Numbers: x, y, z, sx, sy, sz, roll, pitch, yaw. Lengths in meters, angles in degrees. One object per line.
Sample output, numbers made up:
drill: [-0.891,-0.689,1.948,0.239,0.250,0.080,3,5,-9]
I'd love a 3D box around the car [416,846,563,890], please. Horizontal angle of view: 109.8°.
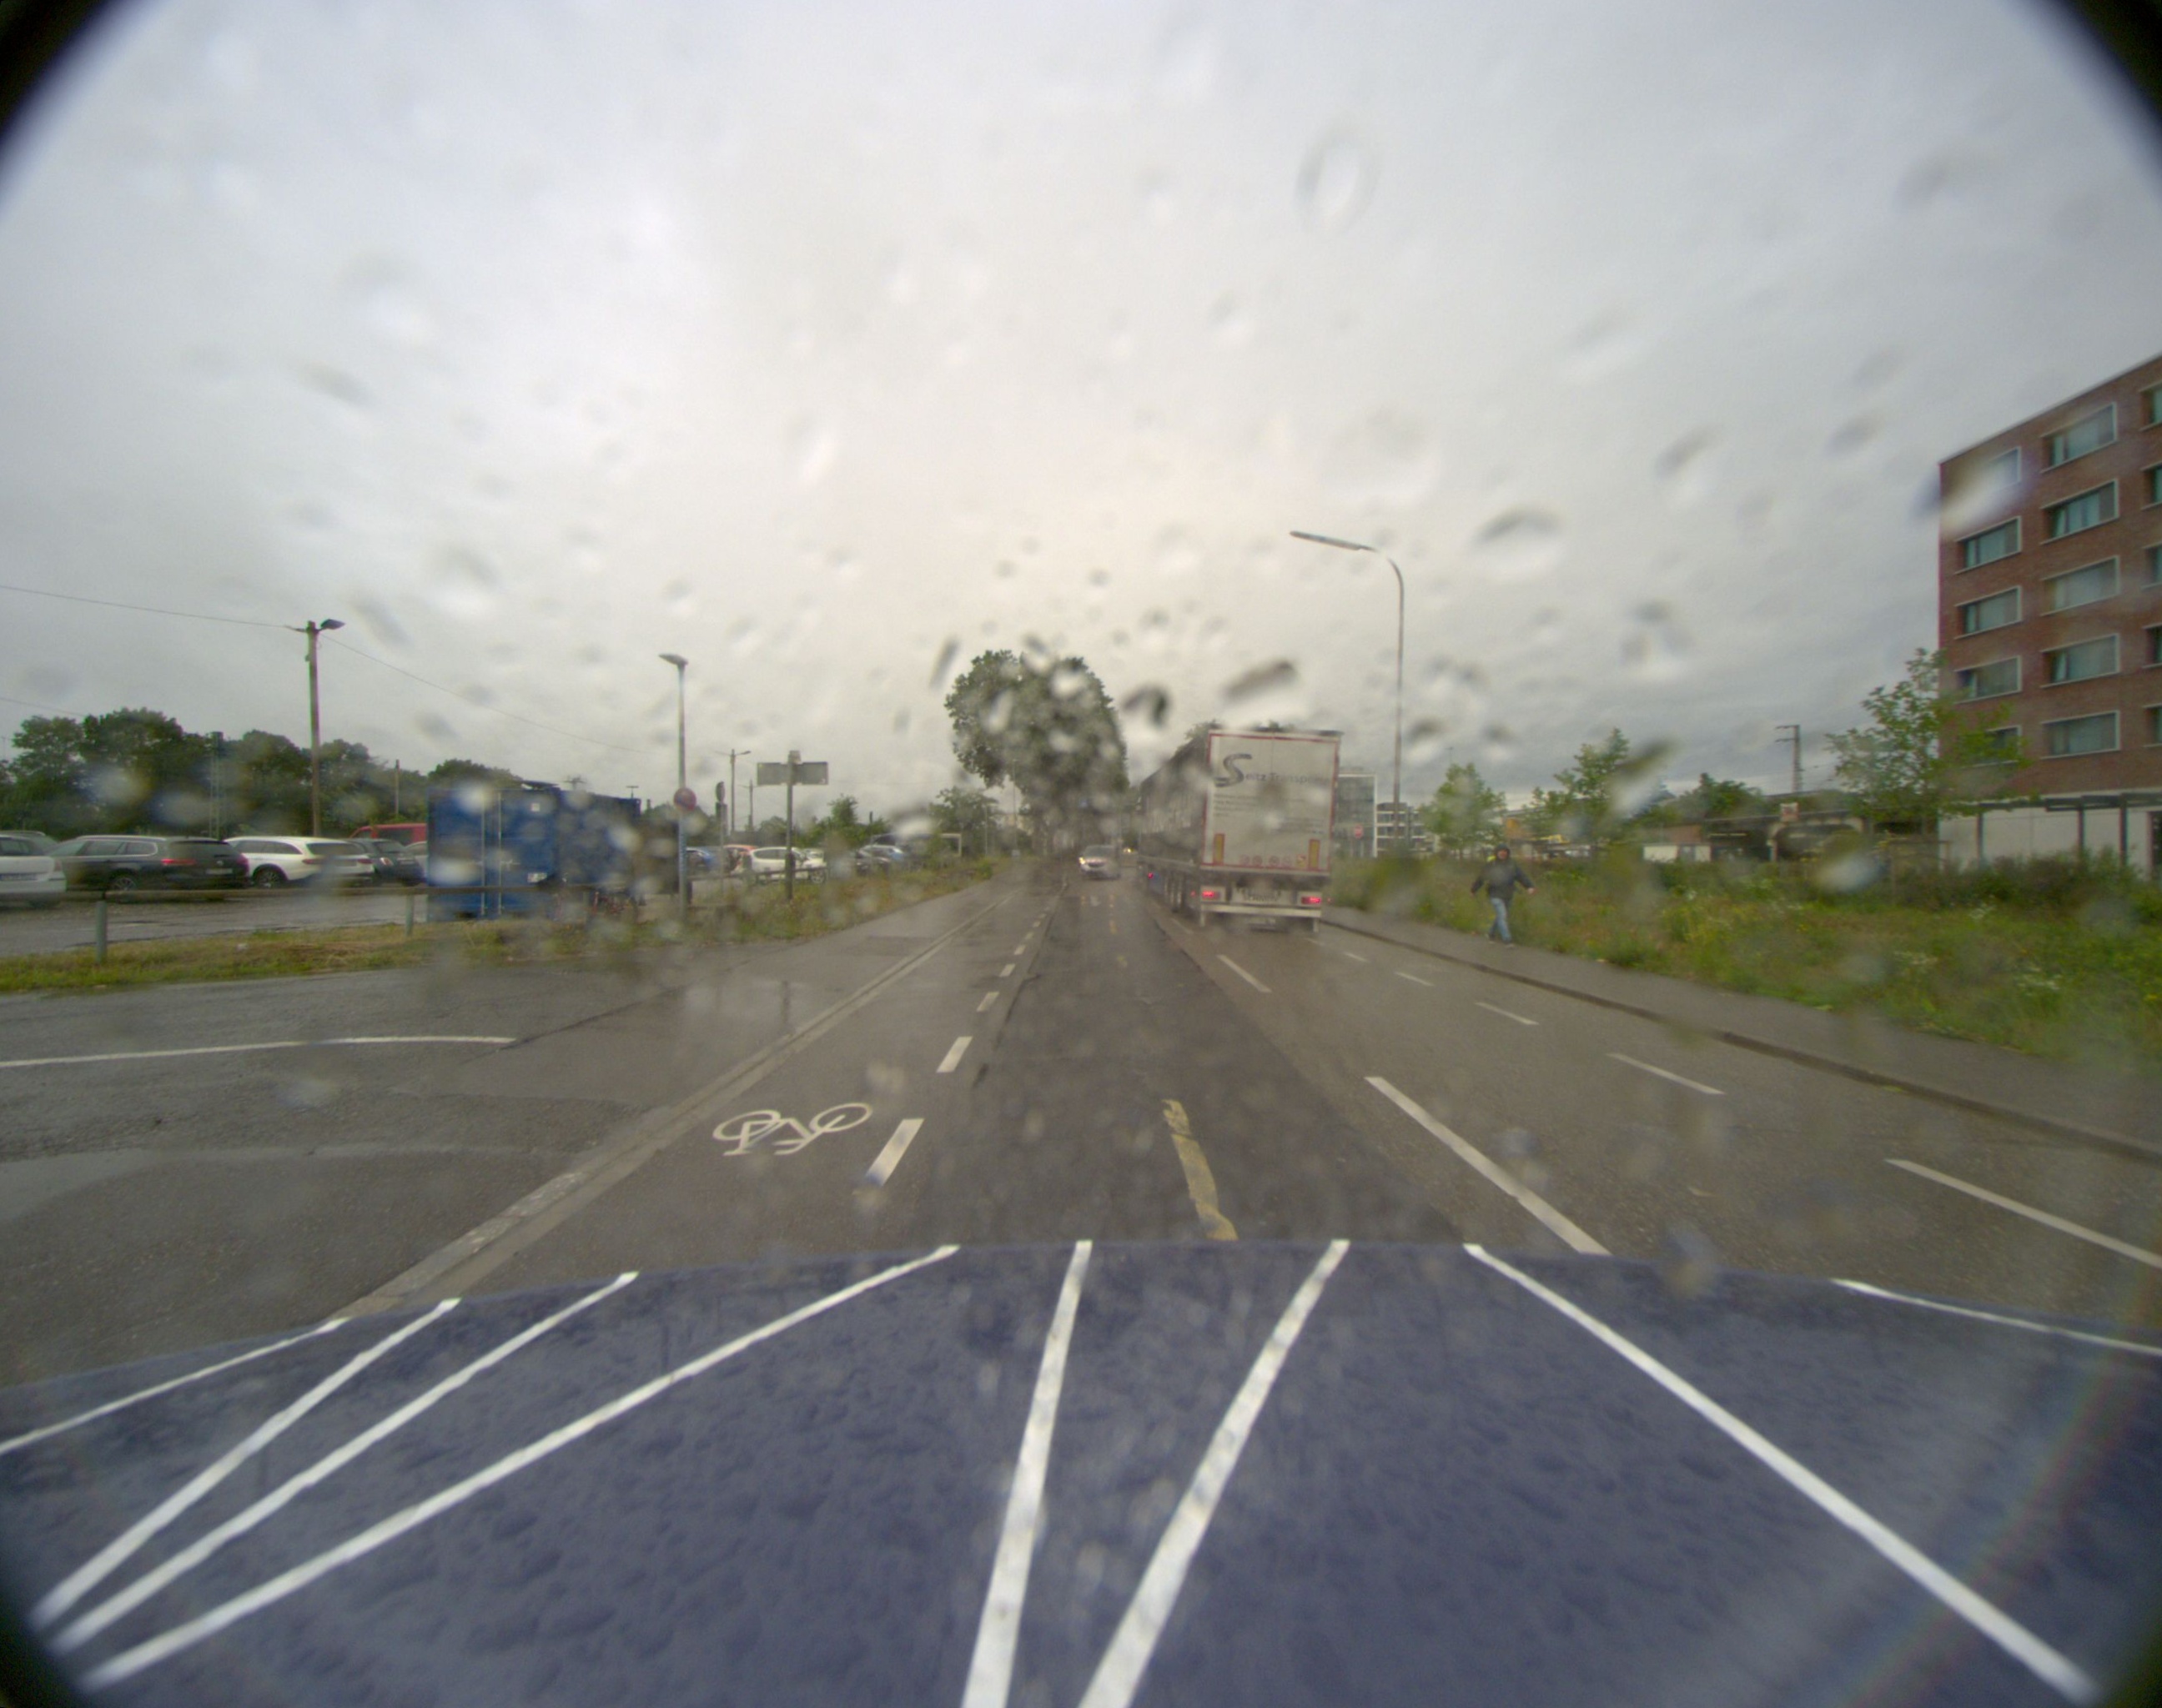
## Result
car: [-21.581,0.486,27.822,3.961,1.419,1.887,1,1,3]

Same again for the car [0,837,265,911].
car: [-21.223,0.410,17.068,3.961,1.481,1.778,1,1,3]

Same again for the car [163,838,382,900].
car: [-21.172,0.357,19.997,3.961,1.481,1.778,1,1,3]

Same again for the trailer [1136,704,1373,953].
trailer: [3.715,-0.485,20.992,3.302,4.626,13.731,0,0,0]

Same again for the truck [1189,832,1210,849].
truck: [18.883,-2.127,121.539,2.090,2.604,6.976,0,0,-1]

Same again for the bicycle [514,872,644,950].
bicycle: [-7.730,0.838,11.794,0.507,1.078,1.705,1,0,21]

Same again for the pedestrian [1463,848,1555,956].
pedestrian: [6.974,0.752,12.438,0.911,1.708,1.026,0,1,1]

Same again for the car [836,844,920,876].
car: [-10.657,0.297,40.021,3.906,1.585,1.896,-1,1,-2]

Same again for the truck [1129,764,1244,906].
truck: [3.634,-0.620,27.846,3.302,4.627,6.032,0,0,0]

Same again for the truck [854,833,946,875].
truck: [-10.850,-0.023,45.887,5.046,2.389,2.110,-1,1,-2]

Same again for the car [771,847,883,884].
car: [-10.312,0.446,31.100,3.906,1.415,1.905,-1,1,-2]

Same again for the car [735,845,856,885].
car: [-10.642,0.384,28.527,3.781,1.385,1.905,-1,1,-2]

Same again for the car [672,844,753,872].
car: [-21.796,0.221,44.982,3.961,1.471,1.707,1,2,3]

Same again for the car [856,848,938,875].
car: [-10.332,0.380,42.882,4.170,1.412,1.863,-1,1,-2]

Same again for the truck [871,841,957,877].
truck: [-11.258,0.311,51.494,5.342,2.309,2.074,-1,1,1]

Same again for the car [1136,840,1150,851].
car: [9.492,-1.272,116.908,1.853,1.592,4.501,0,-1,0]

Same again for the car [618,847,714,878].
car: [-21.396,0.429,39.295,3.961,1.419,1.821,1,1,3]

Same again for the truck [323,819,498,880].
truck: [-27.524,-0.178,31.344,5.301,2.354,2.153,1,0,0]

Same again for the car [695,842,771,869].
car: [-21.941,0.070,47.987,3.961,1.528,1.807,1,1,3]

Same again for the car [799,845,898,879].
car: [-10.412,0.336,34.286,3.906,1.415,1.778,-1,1,-2]

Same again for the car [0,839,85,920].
car: [-22.226,0.449,14.598,3.961,1.481,1.778,1,1,3]

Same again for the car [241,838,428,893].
car: [-22.345,0.319,22.848,3.961,1.481,1.778,1,1,3]

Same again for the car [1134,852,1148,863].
car: [7.408,0.403,93.907,1.643,1.346,3.776,0,0,5]

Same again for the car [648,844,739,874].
car: [-21.439,0.264,42.148,4.075,1.482,1.926,1,1,3]

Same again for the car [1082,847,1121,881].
car: [1.126,0.482,40.012,1.838,1.714,4.173,0,0,4]

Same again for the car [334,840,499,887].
car: [-22.335,0.293,25.648,3.961,1.419,1.887,1,1,3]

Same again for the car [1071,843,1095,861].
car: [0.203,-0.135,65.612,1.742,1.437,4.002,2,0,5]
